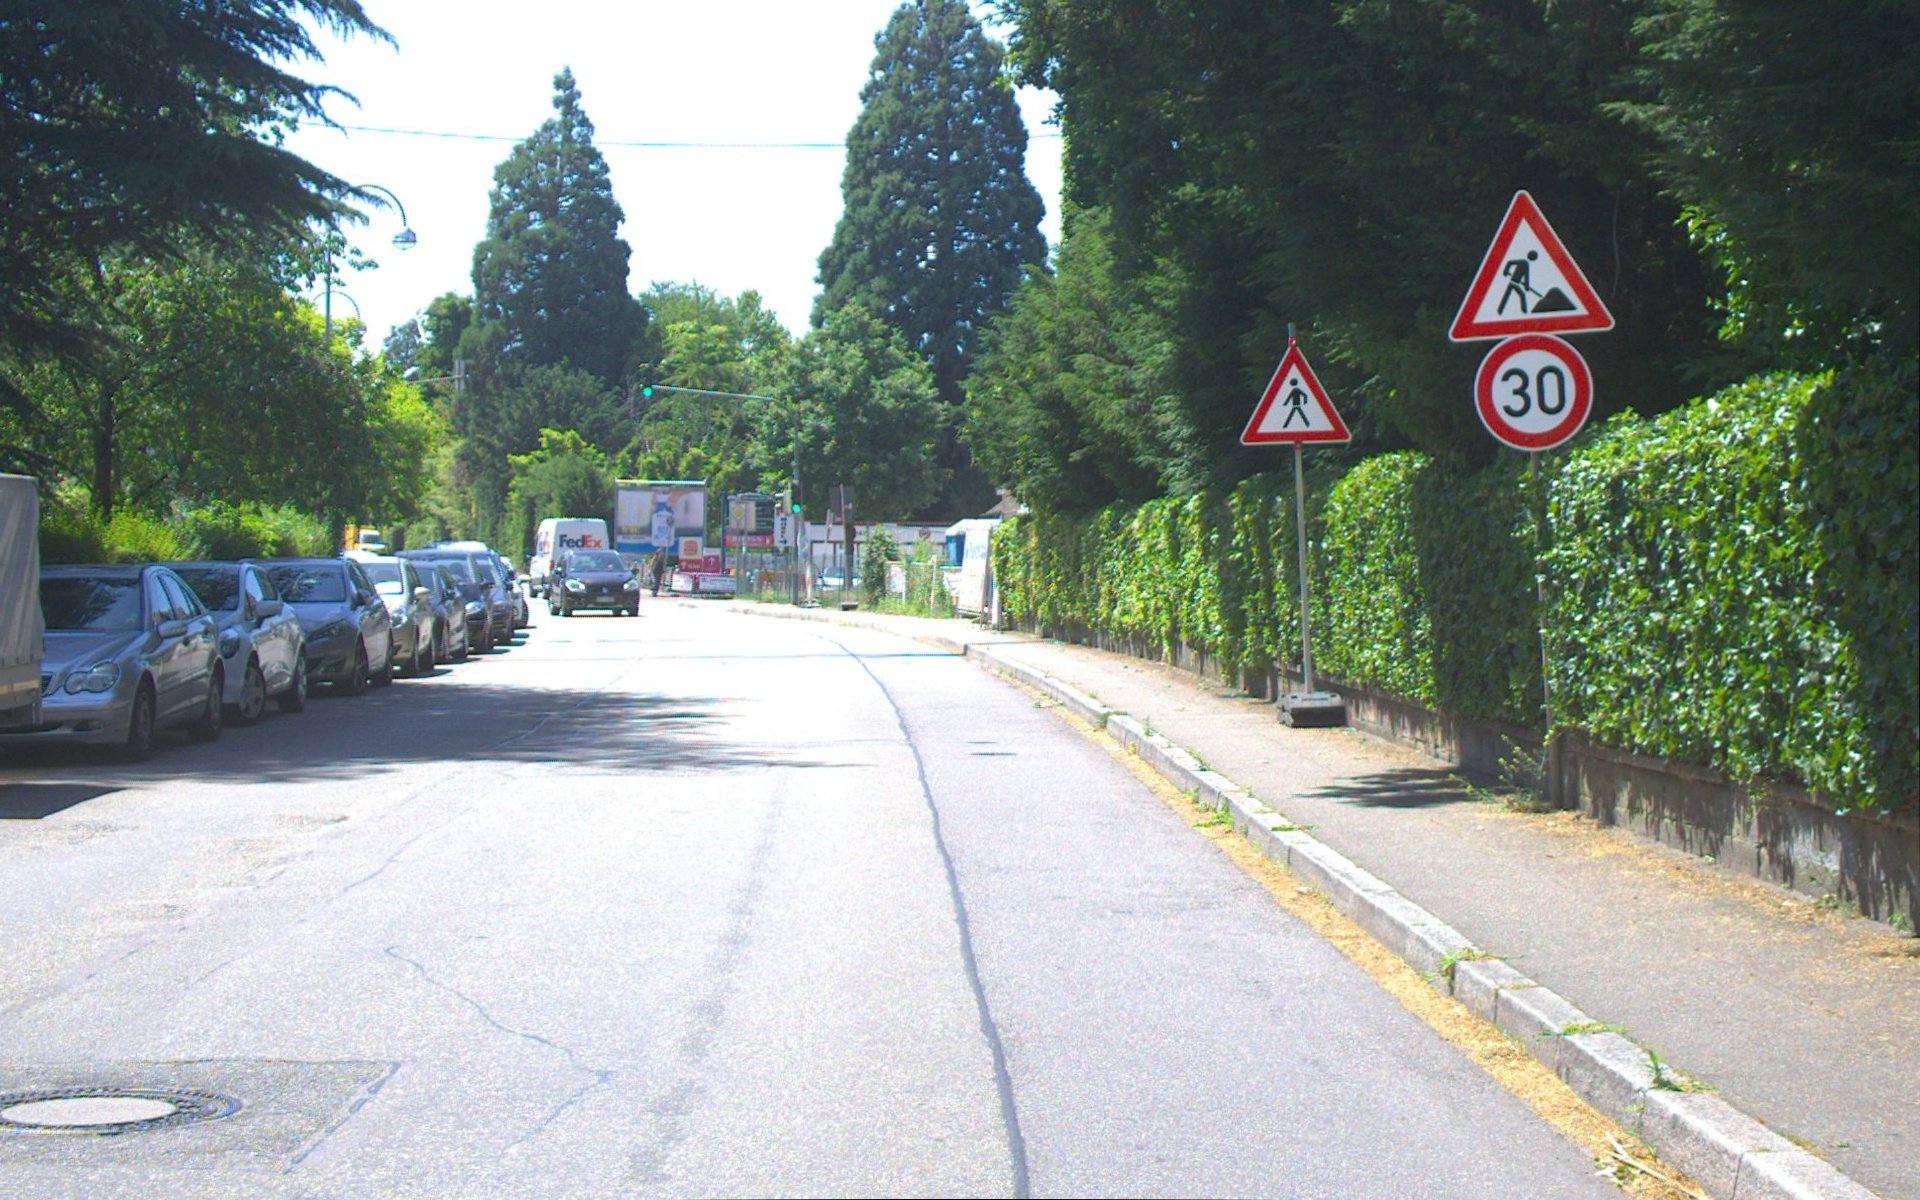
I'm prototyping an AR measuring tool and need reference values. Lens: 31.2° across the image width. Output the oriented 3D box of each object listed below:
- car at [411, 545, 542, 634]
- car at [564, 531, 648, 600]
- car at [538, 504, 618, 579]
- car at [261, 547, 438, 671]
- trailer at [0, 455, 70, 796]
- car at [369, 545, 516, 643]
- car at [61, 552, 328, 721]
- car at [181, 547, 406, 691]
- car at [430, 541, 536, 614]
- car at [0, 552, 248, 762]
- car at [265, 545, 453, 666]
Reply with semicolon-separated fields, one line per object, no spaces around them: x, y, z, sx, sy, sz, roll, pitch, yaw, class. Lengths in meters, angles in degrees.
-8.158;-0.206;58.262;1.688;1.439;4.136;0;1;-1;car
-8.294;-0.824;80.777;1.852;1.579;4.136;0;1;-4;car
-12.167;-1.879;109.261;2.143;2.307;4.854;-1;1;-10;car
-7.535;0.076;42.714;1.689;1.444;4.001;0;1;-3;car
-6.648;0.170;20.298;1.847;2.033;4.164;-1;1;-3;trailer
-7.924;-0.124;52.924;1.688;1.439;4.136;0;1;-1;car
-6.871;0.286;31.204;1.582;1.385;3.883;-1;1;-1;car
-7.138;0.166;37.170;1.688;1.439;4.136;0;1;-1;car
-9.813;-0.482;70.957;1.688;1.439;4.136;0;1;-1;car
-6.678;0.377;26.046;1.709;1.434;4.322;-1;1;-1;car
-7.488;0.032;43.131;1.688;1.439;4.136;0;1;-1;car
